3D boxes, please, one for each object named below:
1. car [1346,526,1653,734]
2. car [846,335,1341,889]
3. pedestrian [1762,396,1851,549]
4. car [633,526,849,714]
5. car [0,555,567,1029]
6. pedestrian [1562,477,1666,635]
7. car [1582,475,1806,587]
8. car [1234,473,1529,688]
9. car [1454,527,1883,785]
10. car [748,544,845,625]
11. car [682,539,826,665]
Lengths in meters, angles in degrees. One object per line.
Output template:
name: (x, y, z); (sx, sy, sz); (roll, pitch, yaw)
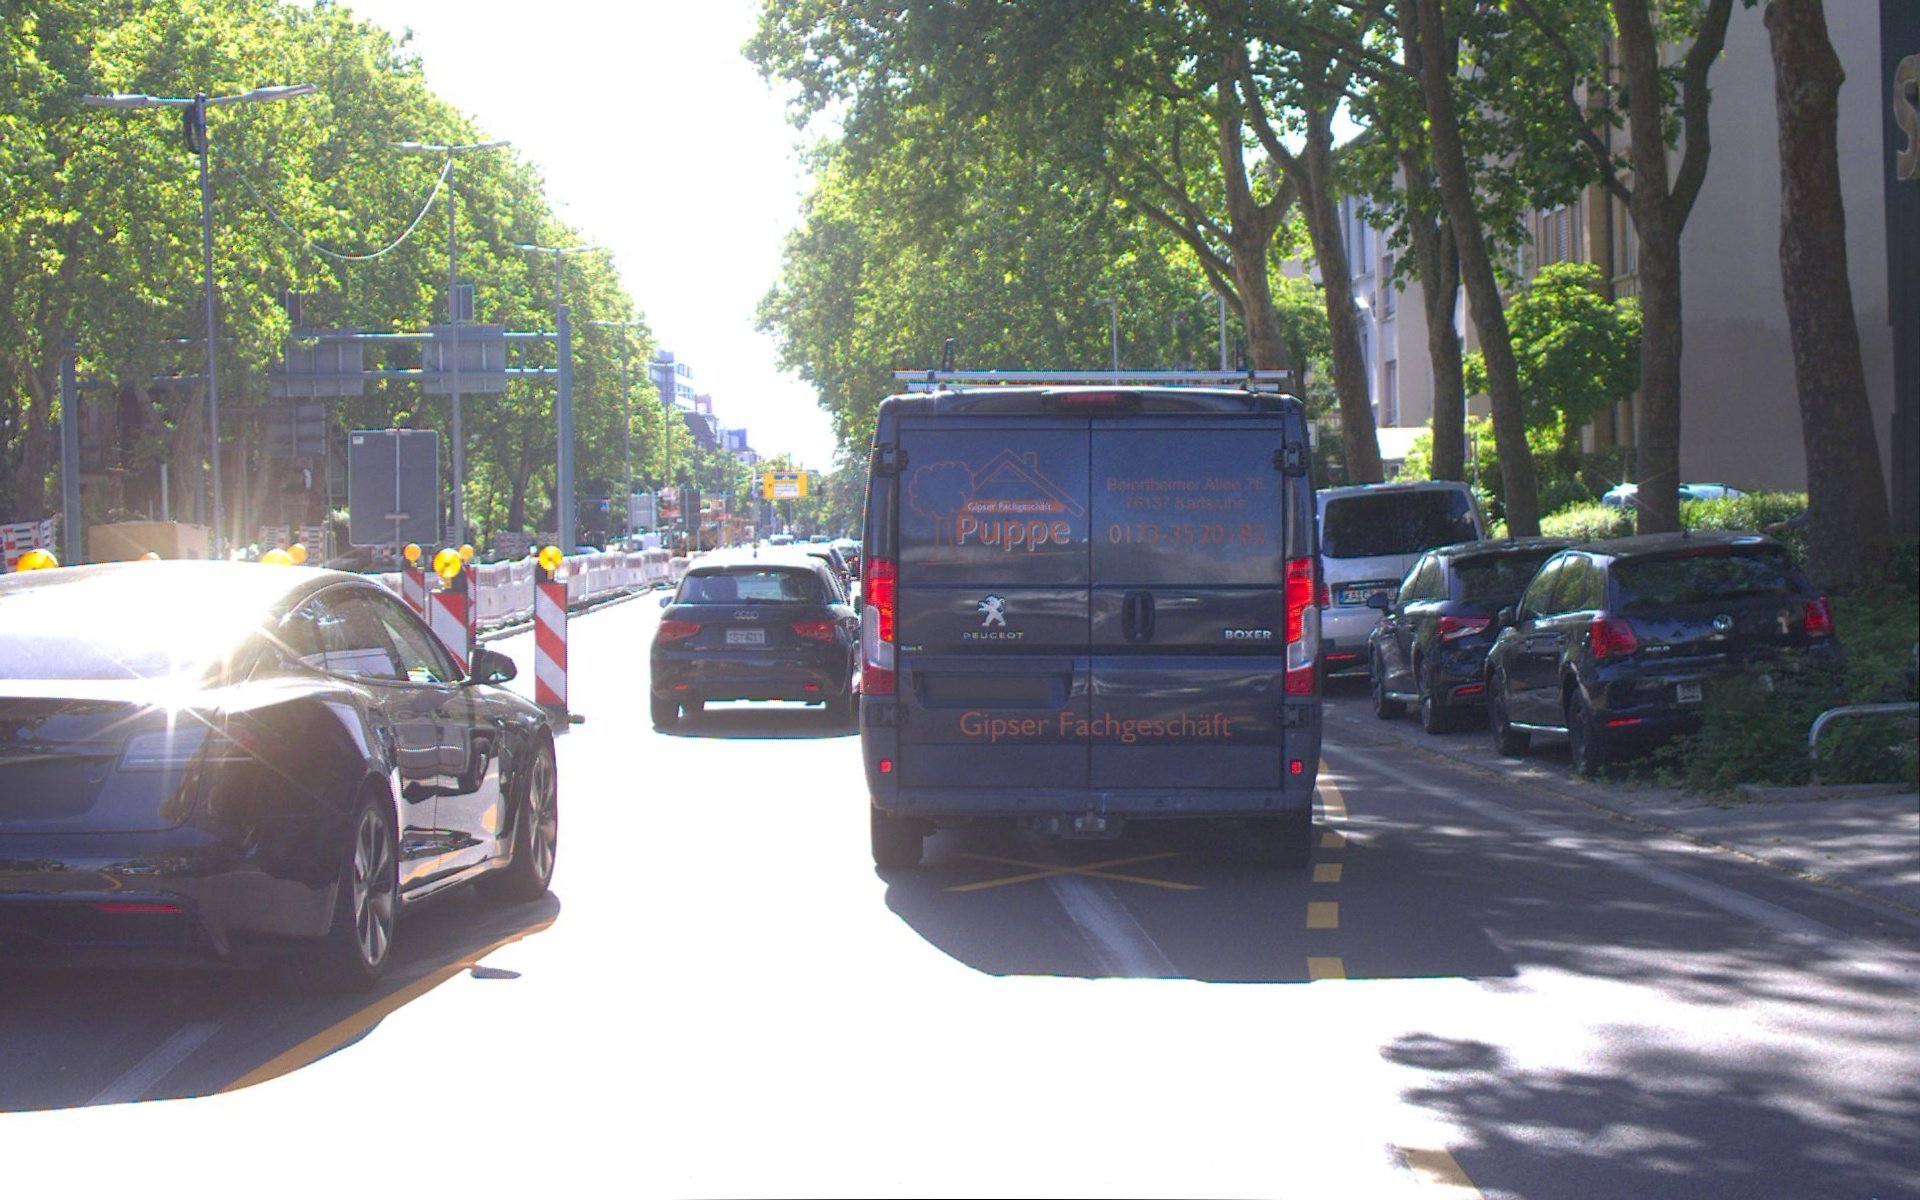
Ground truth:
car: (4.225, 0.189, 27.494); (1.657, 1.535, 4.129); (0, 1, -2)
car: (0.573, -0.006, 16.584); (2.095, 2.347, 3.933); (0, 2, 0)
pedestrian: (9.290, -1.408, 37.735); (0.705, 1.643, 0.675); (1, 4, -5)
car: (-1.912, 0.120, 29.860); (1.746, 1.402, 4.001); (0, 3, -4)
car: (-2.810, 0.572, 12.713); (1.925, 1.407, 4.625); (1, 0, 3)
pedestrian: (6.793, -0.459, 35.768); (0.727, 1.597, 1.267); (-1, 1, -5)
car: (12.425, -1.169, 58.341); (1.704, 1.847, 3.507); (-1, 1, -35)
car: (4.082, -0.226, 34.177); (2.025, 1.940, 5.274); (-1, 1, -3)
car: (4.509, 0.295, 22.511); (1.763, 1.503, 4.251); (-1, 1, -2)
car: (-2.590, -0.266, 54.918); (1.421, 1.221, 3.438); (-1, 1, -1)
car: (-2.490, 0.002, 41.020); (1.547, 1.420, 3.556); (-1, 1, -6)
